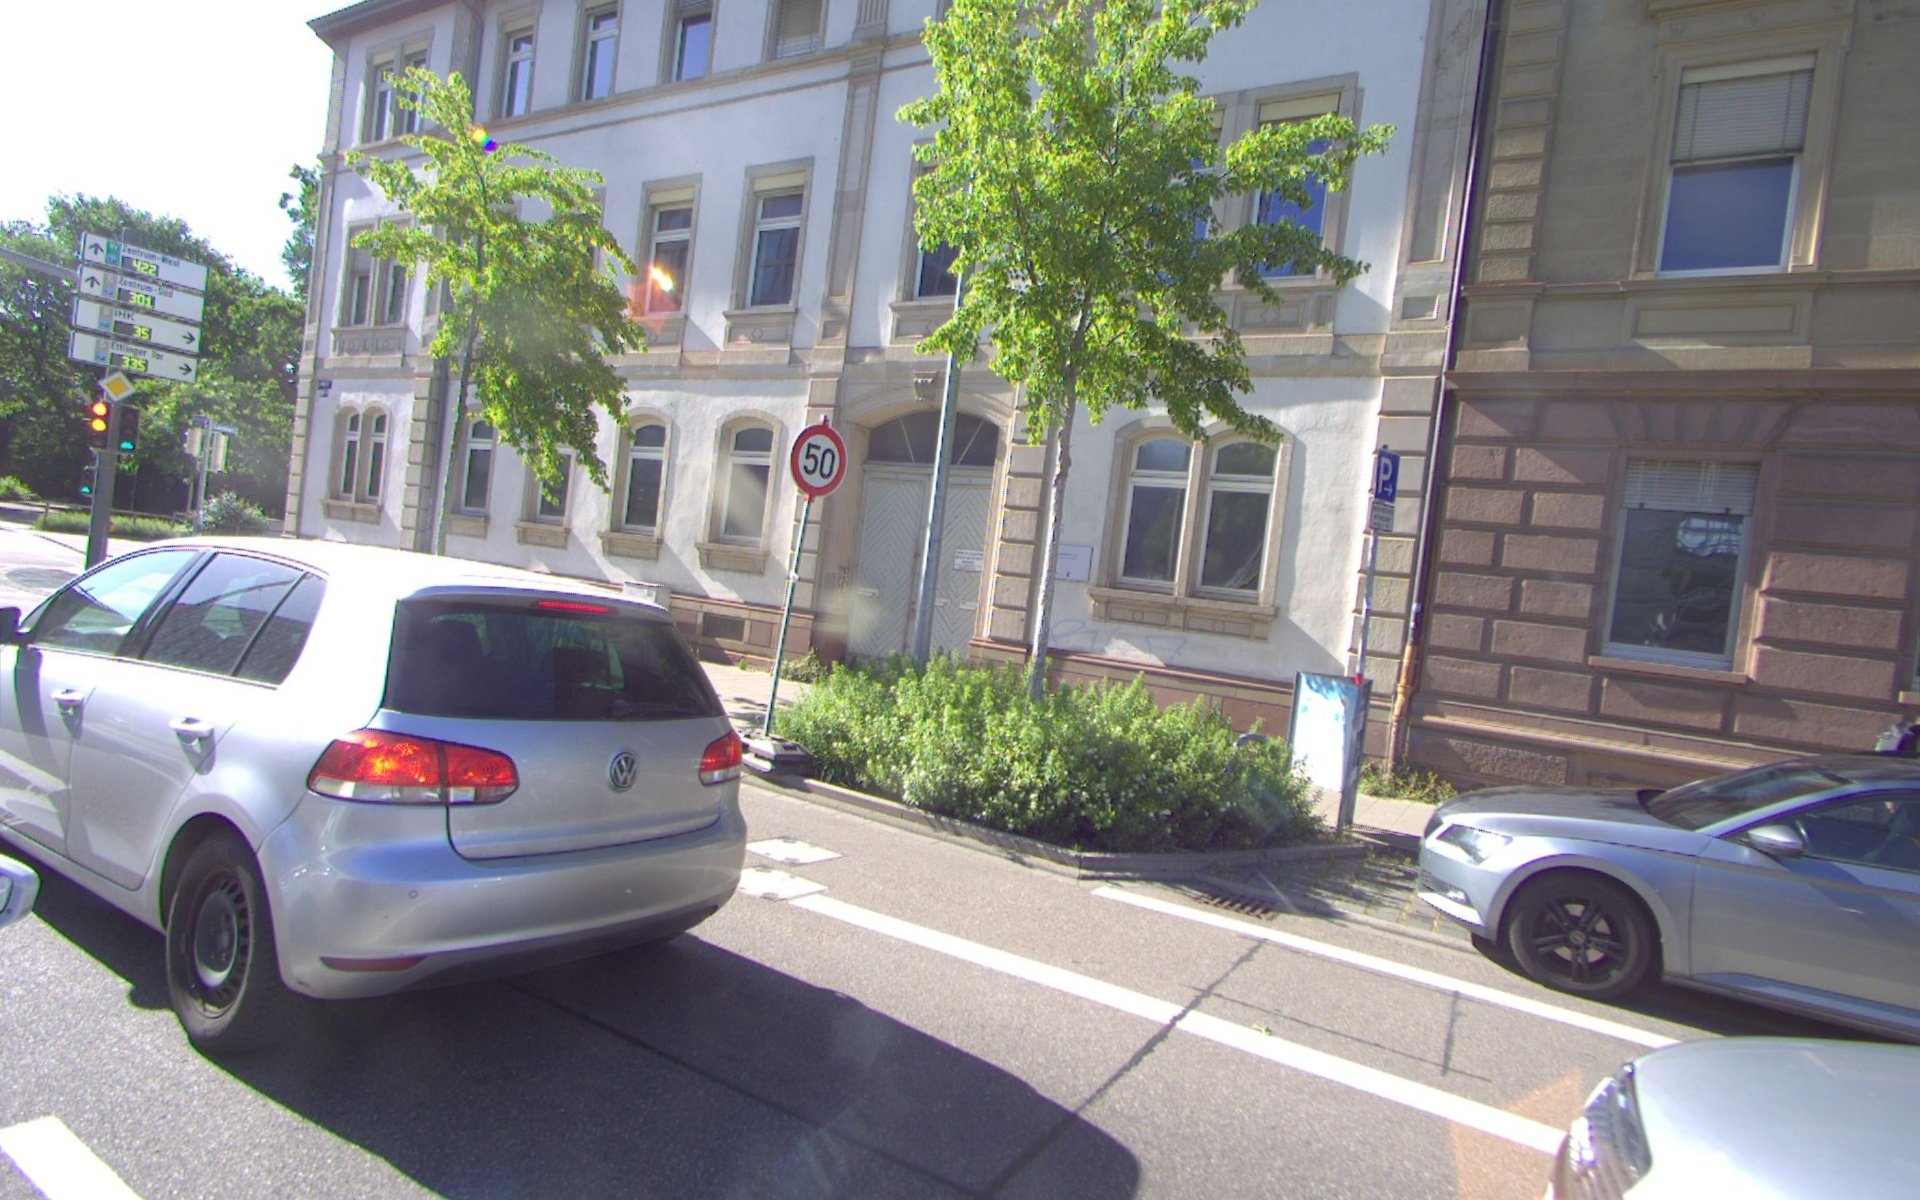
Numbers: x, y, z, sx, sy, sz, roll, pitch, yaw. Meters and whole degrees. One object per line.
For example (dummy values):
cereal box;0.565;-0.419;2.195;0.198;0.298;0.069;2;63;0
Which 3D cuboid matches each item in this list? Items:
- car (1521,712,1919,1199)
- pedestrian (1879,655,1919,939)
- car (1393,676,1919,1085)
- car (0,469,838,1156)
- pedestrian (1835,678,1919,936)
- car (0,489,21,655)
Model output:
car;3.222;1.216;0.851;4.759;1.444;1.750;7;-1;33
pedestrian;7.053;1.397;7.035;0.577;1.939;0.658;8;4;31
car;4.938;1.510;5.256;4.621;1.495;1.648;7;3;31
car;-2.676;0.430;4.196;3.938;1.545;1.752;7;-1;32
pedestrian;7.252;1.562;7.665;0.577;1.846;0.563;8;4;31
car;-10.281;-0.494;8.865;3.784;1.445;1.796;7;-1;30
